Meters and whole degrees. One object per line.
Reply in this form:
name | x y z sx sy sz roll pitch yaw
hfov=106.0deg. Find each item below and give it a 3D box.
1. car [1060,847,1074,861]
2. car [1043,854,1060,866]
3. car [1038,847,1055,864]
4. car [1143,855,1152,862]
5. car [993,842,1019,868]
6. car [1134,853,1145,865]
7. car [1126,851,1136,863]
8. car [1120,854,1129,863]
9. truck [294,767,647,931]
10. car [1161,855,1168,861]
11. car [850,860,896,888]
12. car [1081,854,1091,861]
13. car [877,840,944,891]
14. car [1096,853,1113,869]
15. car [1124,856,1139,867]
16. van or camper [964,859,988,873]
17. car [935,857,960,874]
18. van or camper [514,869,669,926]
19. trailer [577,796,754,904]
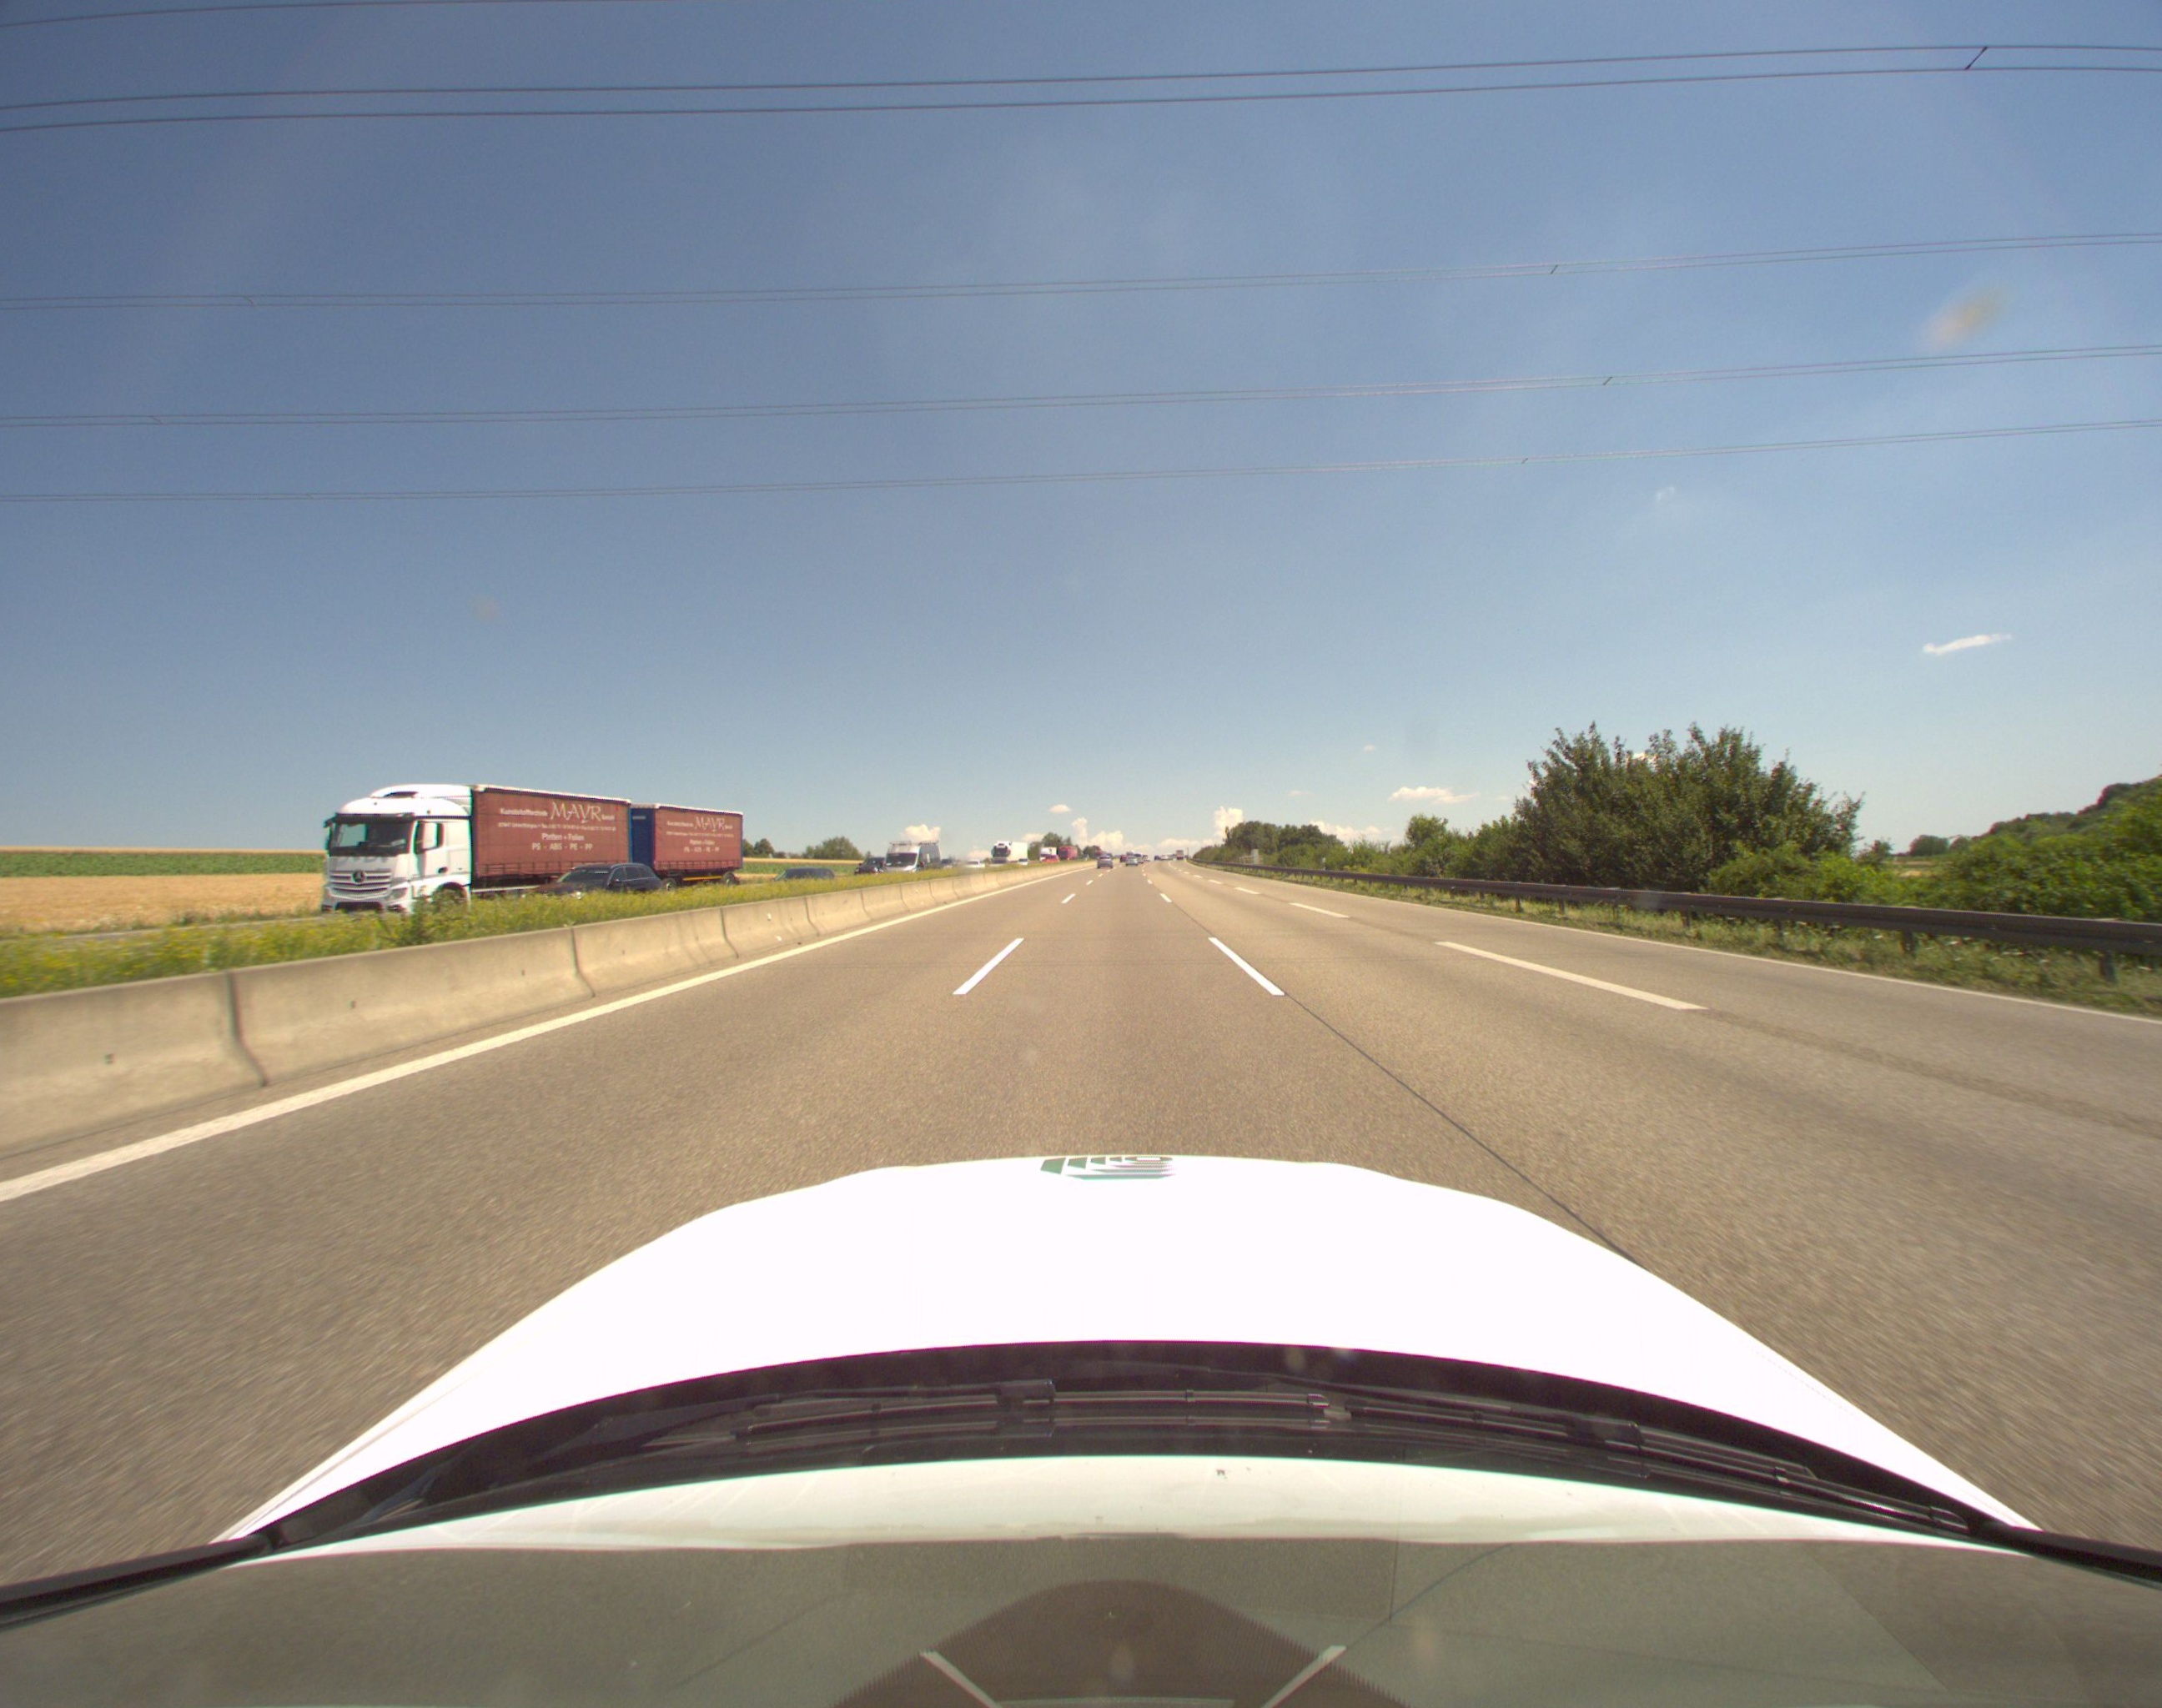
car | -3.260 0.023 196.106 2.530 3.379 8.191 -1 0 5
car | -4.290 0.835 119.250 1.984 1.618 4.005 0 0 4
car | -7.007 0.365 166.565 2.530 3.379 8.191 -1 0 5
car | 15.136 0.928 184.799 1.984 1.552 4.006 1 0 5
car | -11.393 0.150 124.970 2.530 3.832 8.191 -1 0 5
car | 10.473 0.935 146.090 1.984 1.904 4.004 -1 -3 5
car | 11.364 0.748 185.808 2.170 2.625 4.675 0 -3 4
car | 9.395 0.871 174.472 1.839 1.861 4.210 0 1 4
truck | -18.449 -0.118 26.142 2.875 4.171 10.630 0 0 3
car | 21.189 0.978 206.294 1.892 1.442 4.006 0 0 6
car | -13.107 1.243 51.563 1.730 1.670 4.002 0 0 2
car | 1.215 0.862 198.839 1.984 1.618 4.005 0 0 4
car | -9.591 0.631 46.403 2.396 2.679 6.040 0 -1 2
car | 2.890 0.862 100.295 1.986 1.750 4.000 0 -3 1
car | 7.464 1.091 120.429 1.986 1.585 4.002 -1 -2 2
van or camper | -10.397 1.217 81.235 1.730 1.345 4.001 -1 -1 2
car | -14.751 1.304 90.190 1.986 1.849 4.002 -1 -1 2
van or camper | -14.057 1.194 23.690 1.986 1.453 4.001 -1 0 1
trailer | -17.913 -0.143 36.074 2.765 4.183 9.184 0 0 3
